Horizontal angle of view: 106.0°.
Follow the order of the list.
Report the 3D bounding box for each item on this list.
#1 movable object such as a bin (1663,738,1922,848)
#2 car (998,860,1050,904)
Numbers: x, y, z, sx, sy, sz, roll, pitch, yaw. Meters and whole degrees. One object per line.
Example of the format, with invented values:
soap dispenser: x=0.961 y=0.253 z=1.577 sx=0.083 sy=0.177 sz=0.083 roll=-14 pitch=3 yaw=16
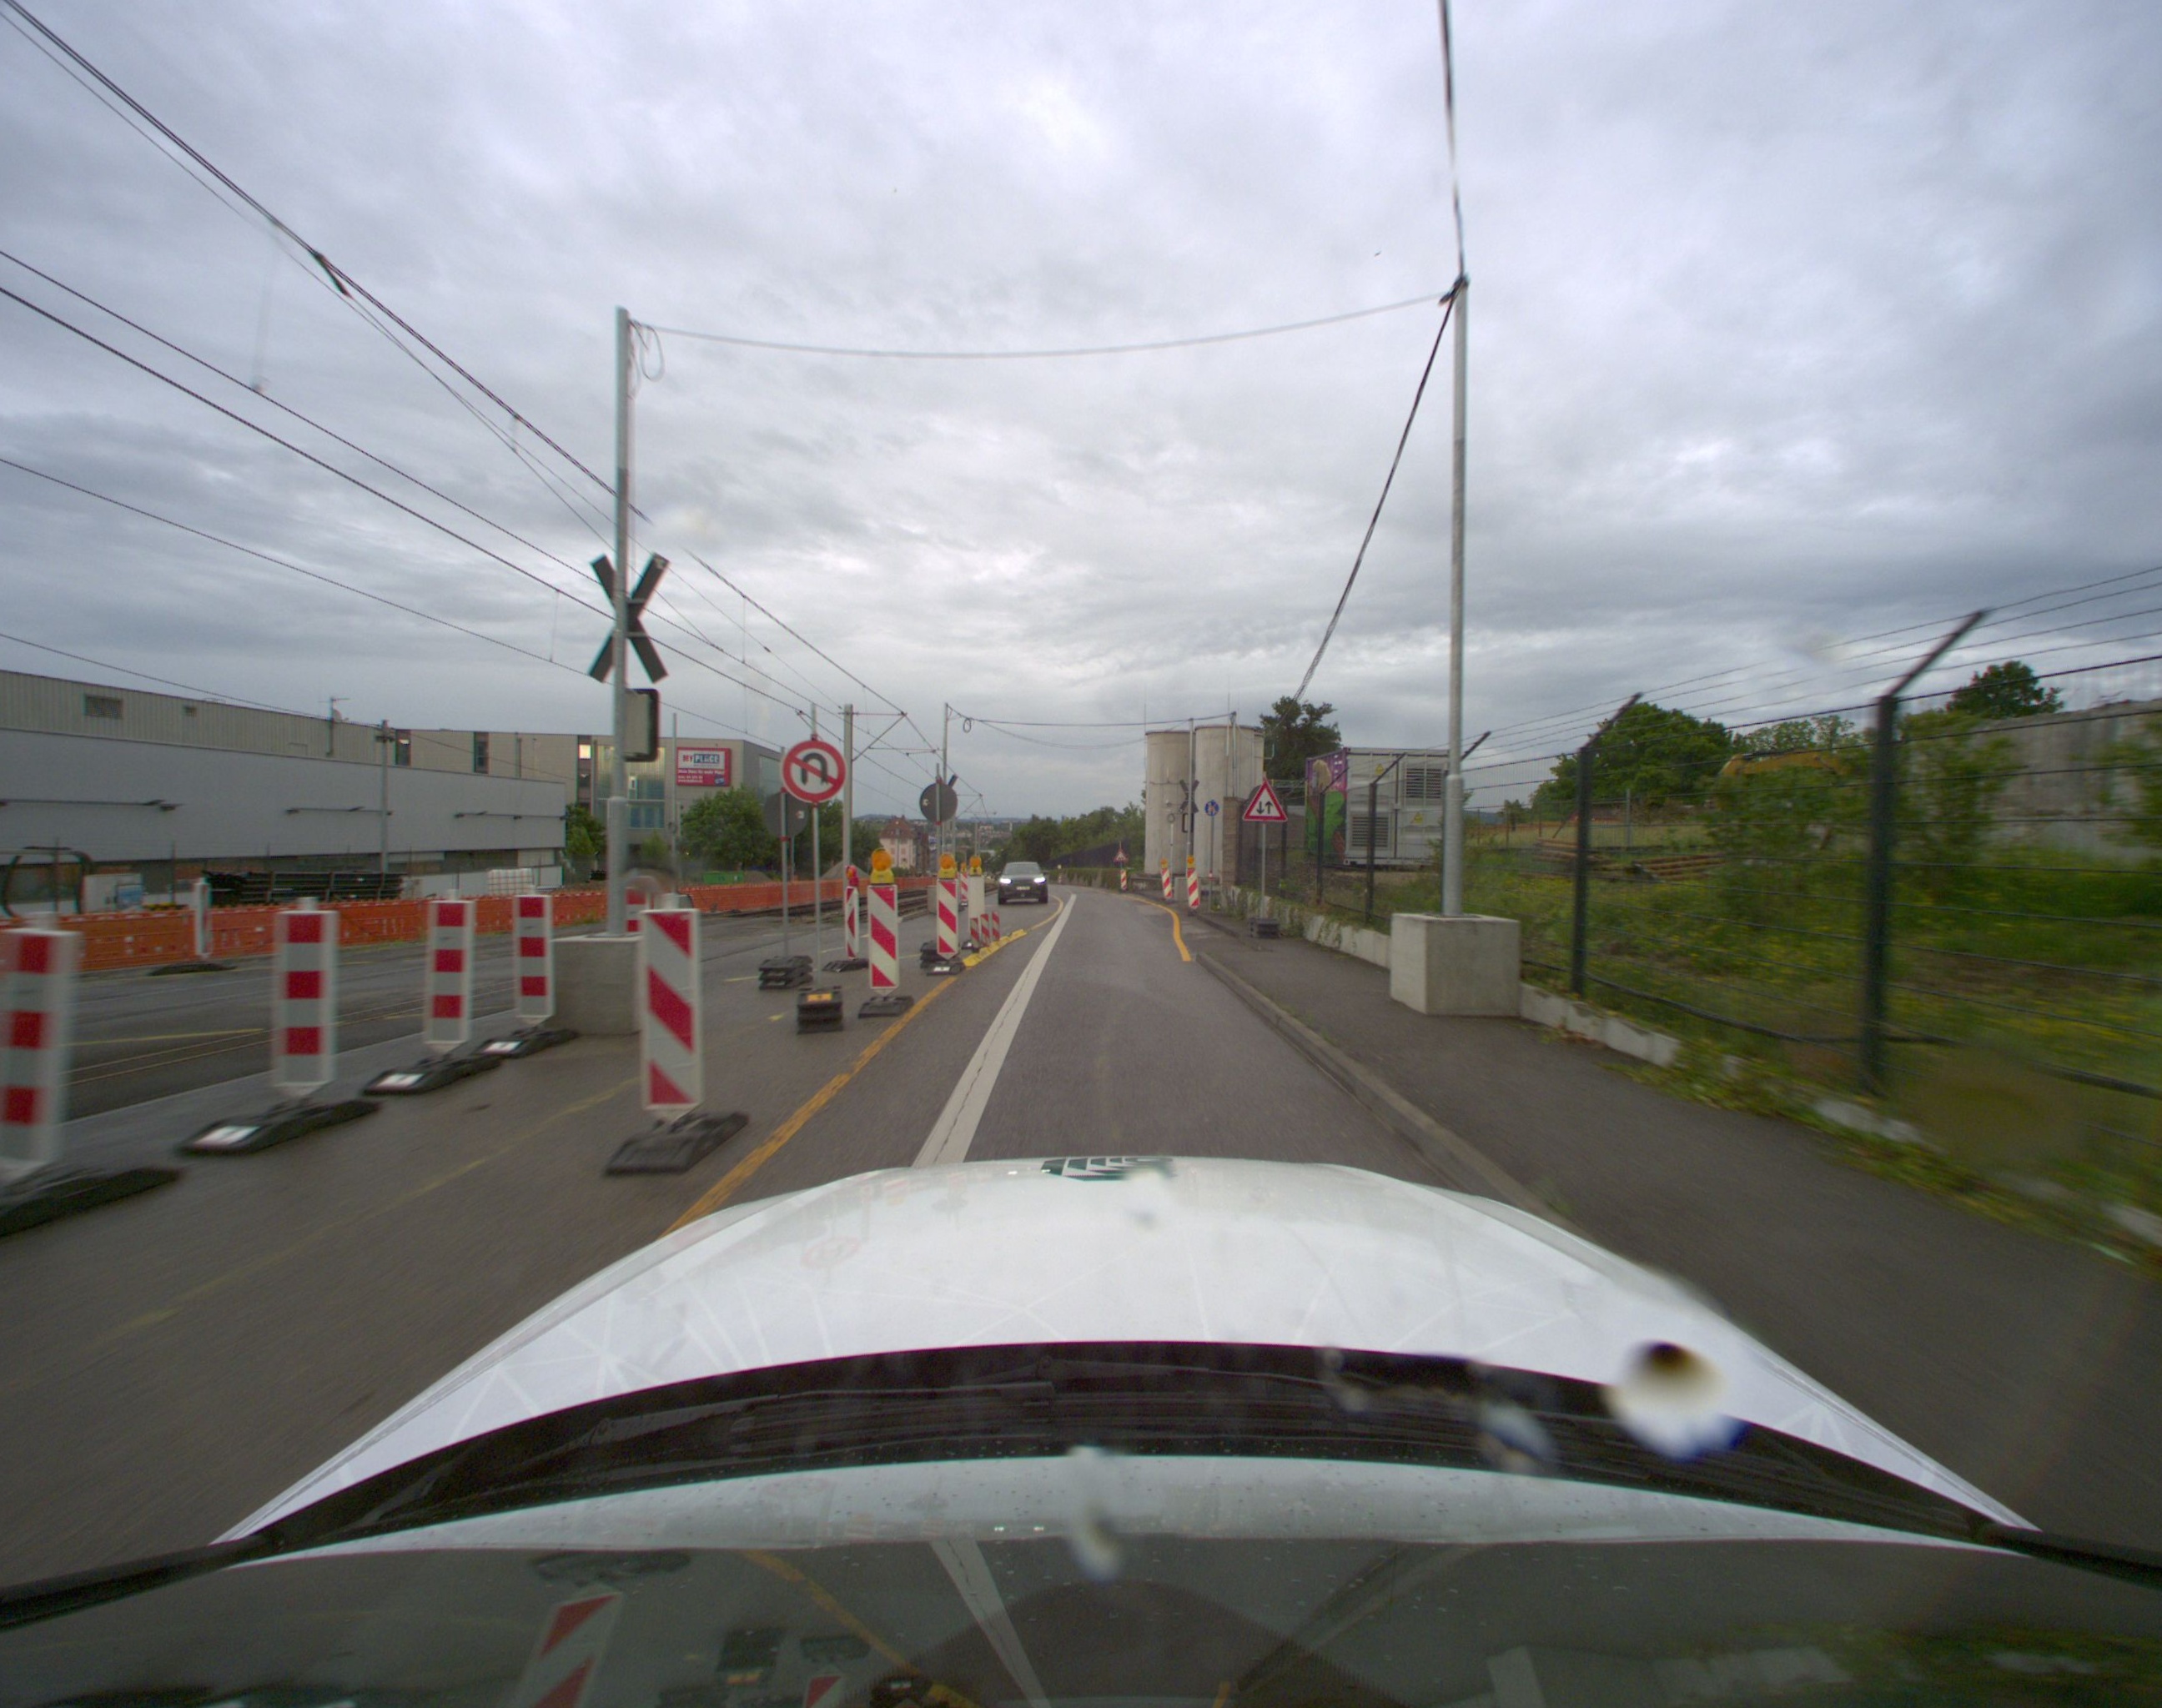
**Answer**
movable object such as a bin: x=41.251 y=-3.390 z=47.696 sx=11.160 sy=5.995 sz=3.501 roll=0 pitch=-1 yaw=10
car: x=-2.350 y=1.089 z=33.186 sx=1.990 sy=1.678 sz=4.480 roll=0 pitch=-1 yaw=-5
